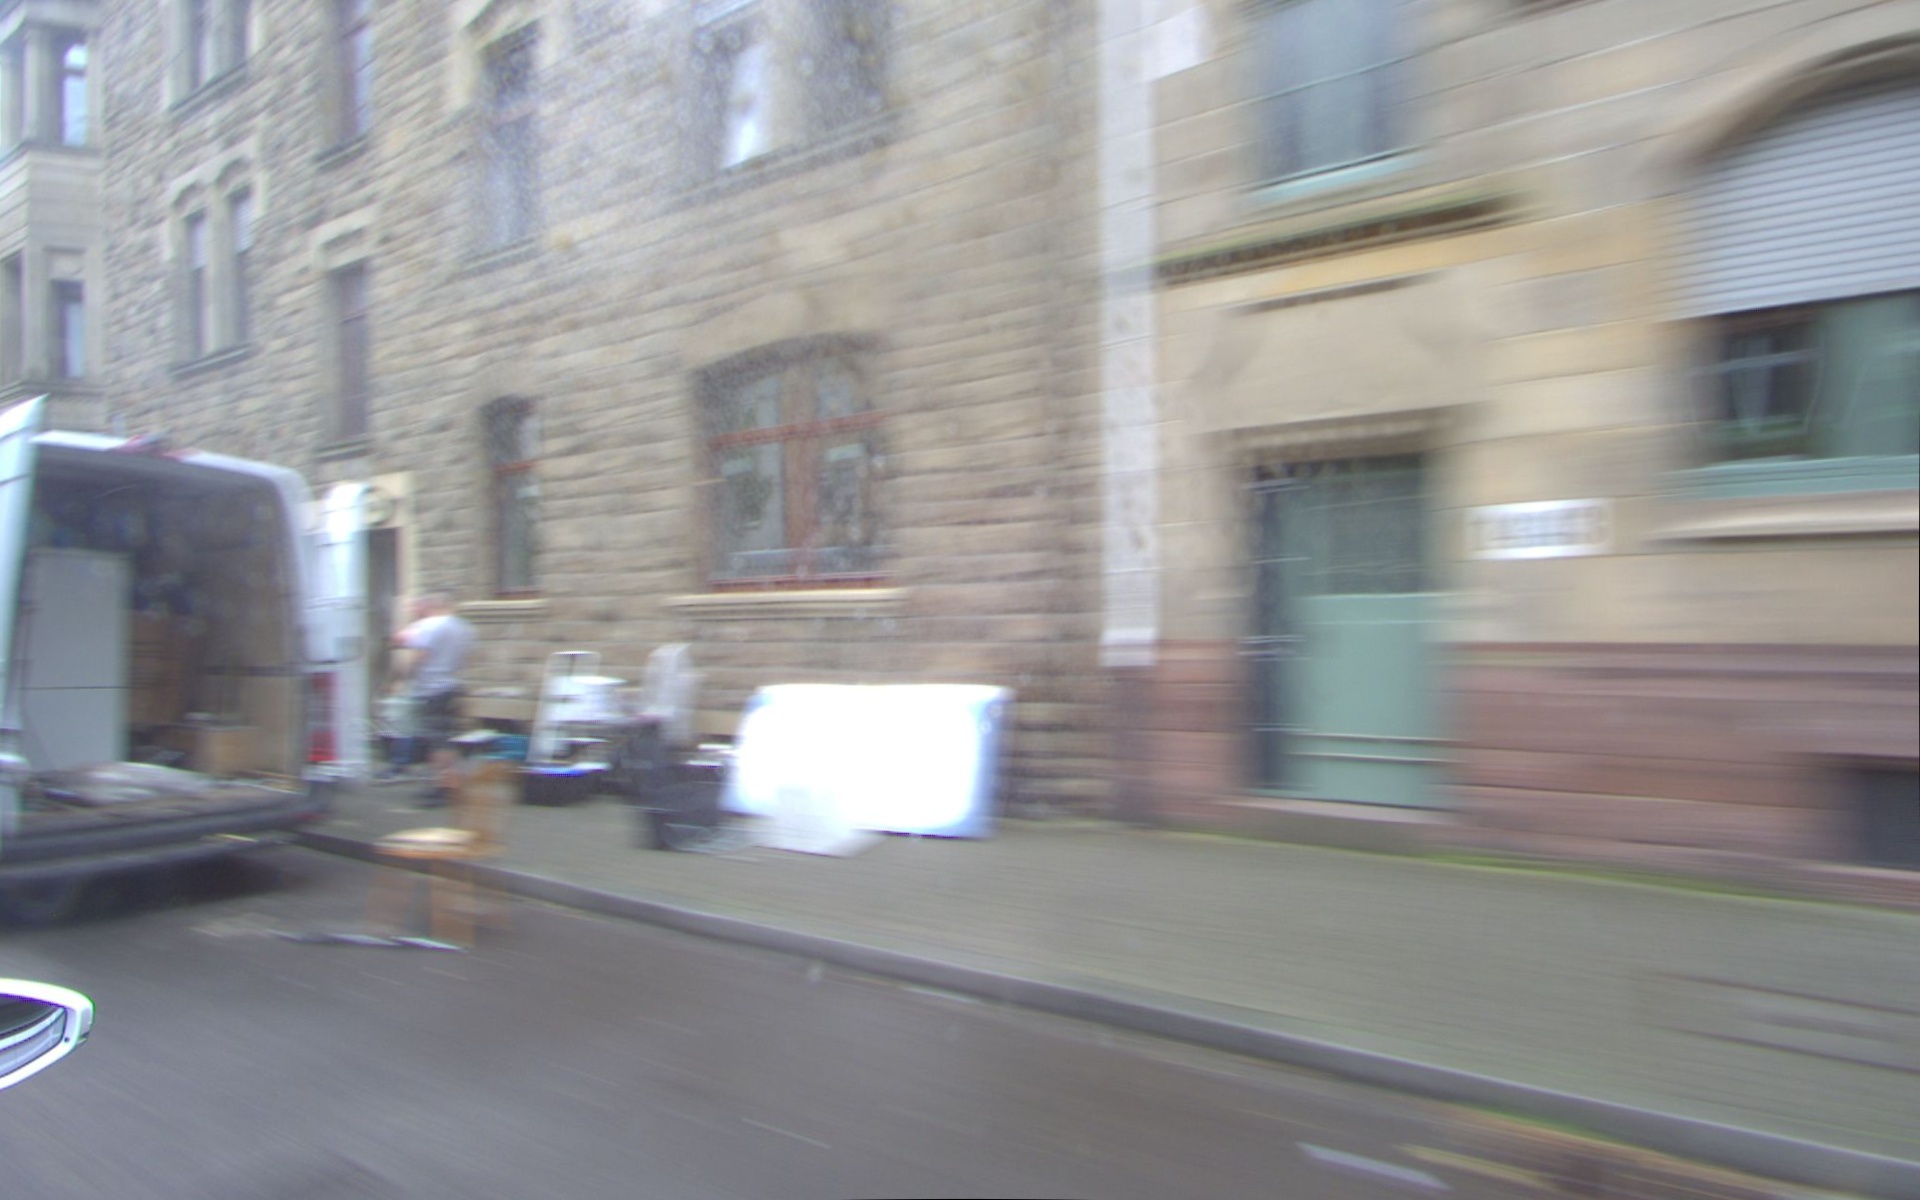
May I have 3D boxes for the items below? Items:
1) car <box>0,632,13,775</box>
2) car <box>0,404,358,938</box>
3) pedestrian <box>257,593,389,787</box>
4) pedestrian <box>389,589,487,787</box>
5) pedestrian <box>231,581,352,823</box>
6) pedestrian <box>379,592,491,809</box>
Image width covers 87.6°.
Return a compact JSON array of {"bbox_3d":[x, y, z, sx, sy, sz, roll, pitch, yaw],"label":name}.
[{"bbox_3d":[-12.349,1.072,10.931,4.937,1.468,1.821,-1,-3,33],"label":"car"},{"bbox_3d":[-7.207,0.432,7.254,6.918,2.580,2.010,-1,-3,33],"label":"car"},{"bbox_3d":[-5.950,0.800,9.386,0.528,1.723,0.863,-1,1,18],"label":"pedestrian"},{"bbox_3d":[-4.754,0.777,9.133,0.571,1.740,0.508,-1,1,22],"label":"pedestrian"},{"bbox_3d":[-5.358,0.780,8.024,0.792,1.839,0.497,0,1,33],"label":"pedestrian"},{"bbox_3d":[-4.330,0.796,8.296,0.483,1.723,0.704,-1,1,4],"label":"pedestrian"}]
